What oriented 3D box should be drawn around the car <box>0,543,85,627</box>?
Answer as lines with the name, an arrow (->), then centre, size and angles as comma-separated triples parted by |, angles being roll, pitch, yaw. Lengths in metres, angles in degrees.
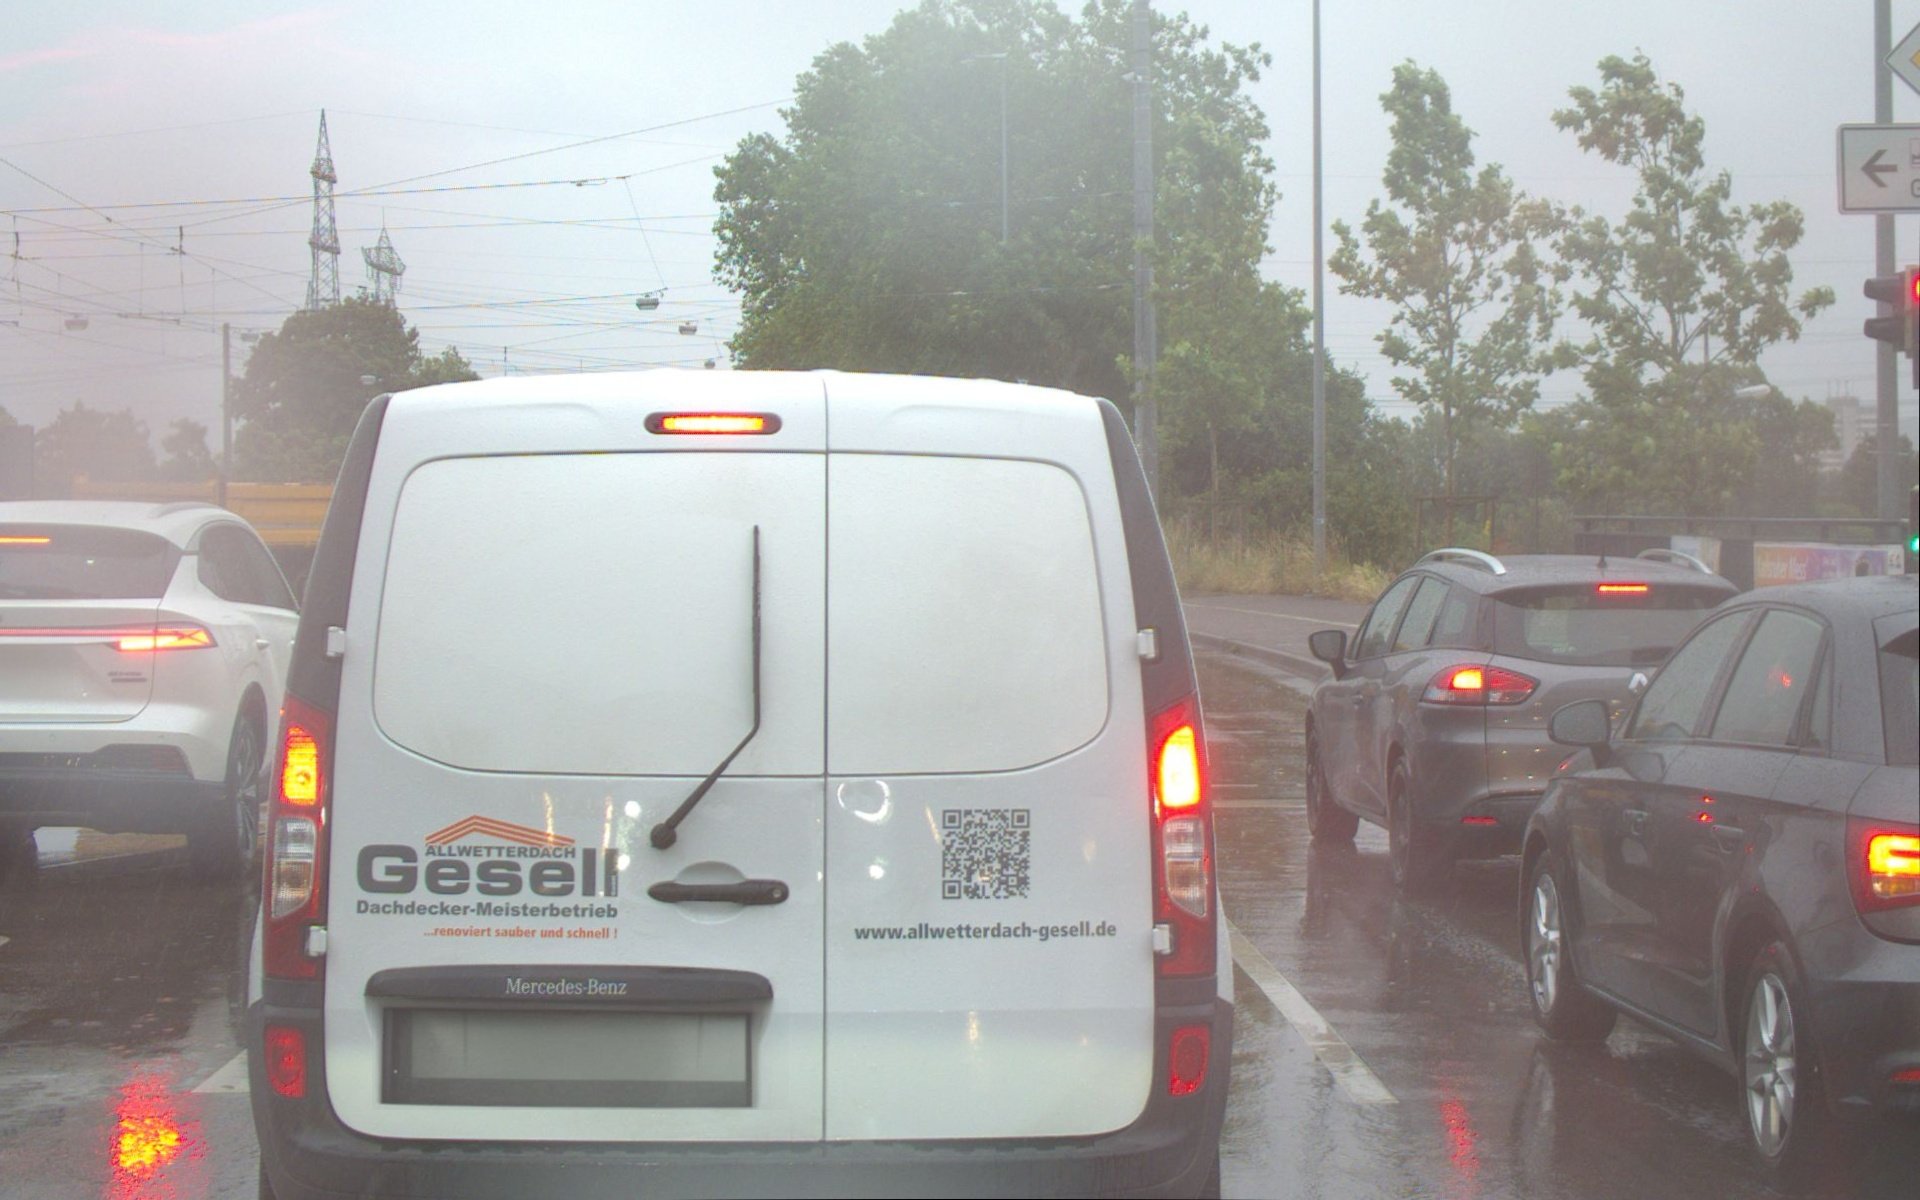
car -> -21.321, -0.356, 77.445 | 1.929, 1.820, 3.999 | 1, 1, 4

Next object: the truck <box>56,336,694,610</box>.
truck -> -6.424, -1.327, 38.818 | 2.638, 2.806, 7.129 | 1, 1, 39

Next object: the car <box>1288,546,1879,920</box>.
car -> 2.654, 0.499, 15.534 | 1.859, 1.424, 3.808 | 1, 1, -2

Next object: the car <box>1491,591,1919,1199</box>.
car -> 2.533, 0.673, 8.937 | 1.629, 1.340, 3.624 | 1, 1, -2

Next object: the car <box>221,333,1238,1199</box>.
car -> -0.378, 0.456, 7.320 | 1.566, 1.782, 4.000 | 0, 1, -1

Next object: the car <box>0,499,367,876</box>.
car -> -3.972, 0.299, 16.167 | 1.728, 1.530, 4.298 | 1, 1, -2
